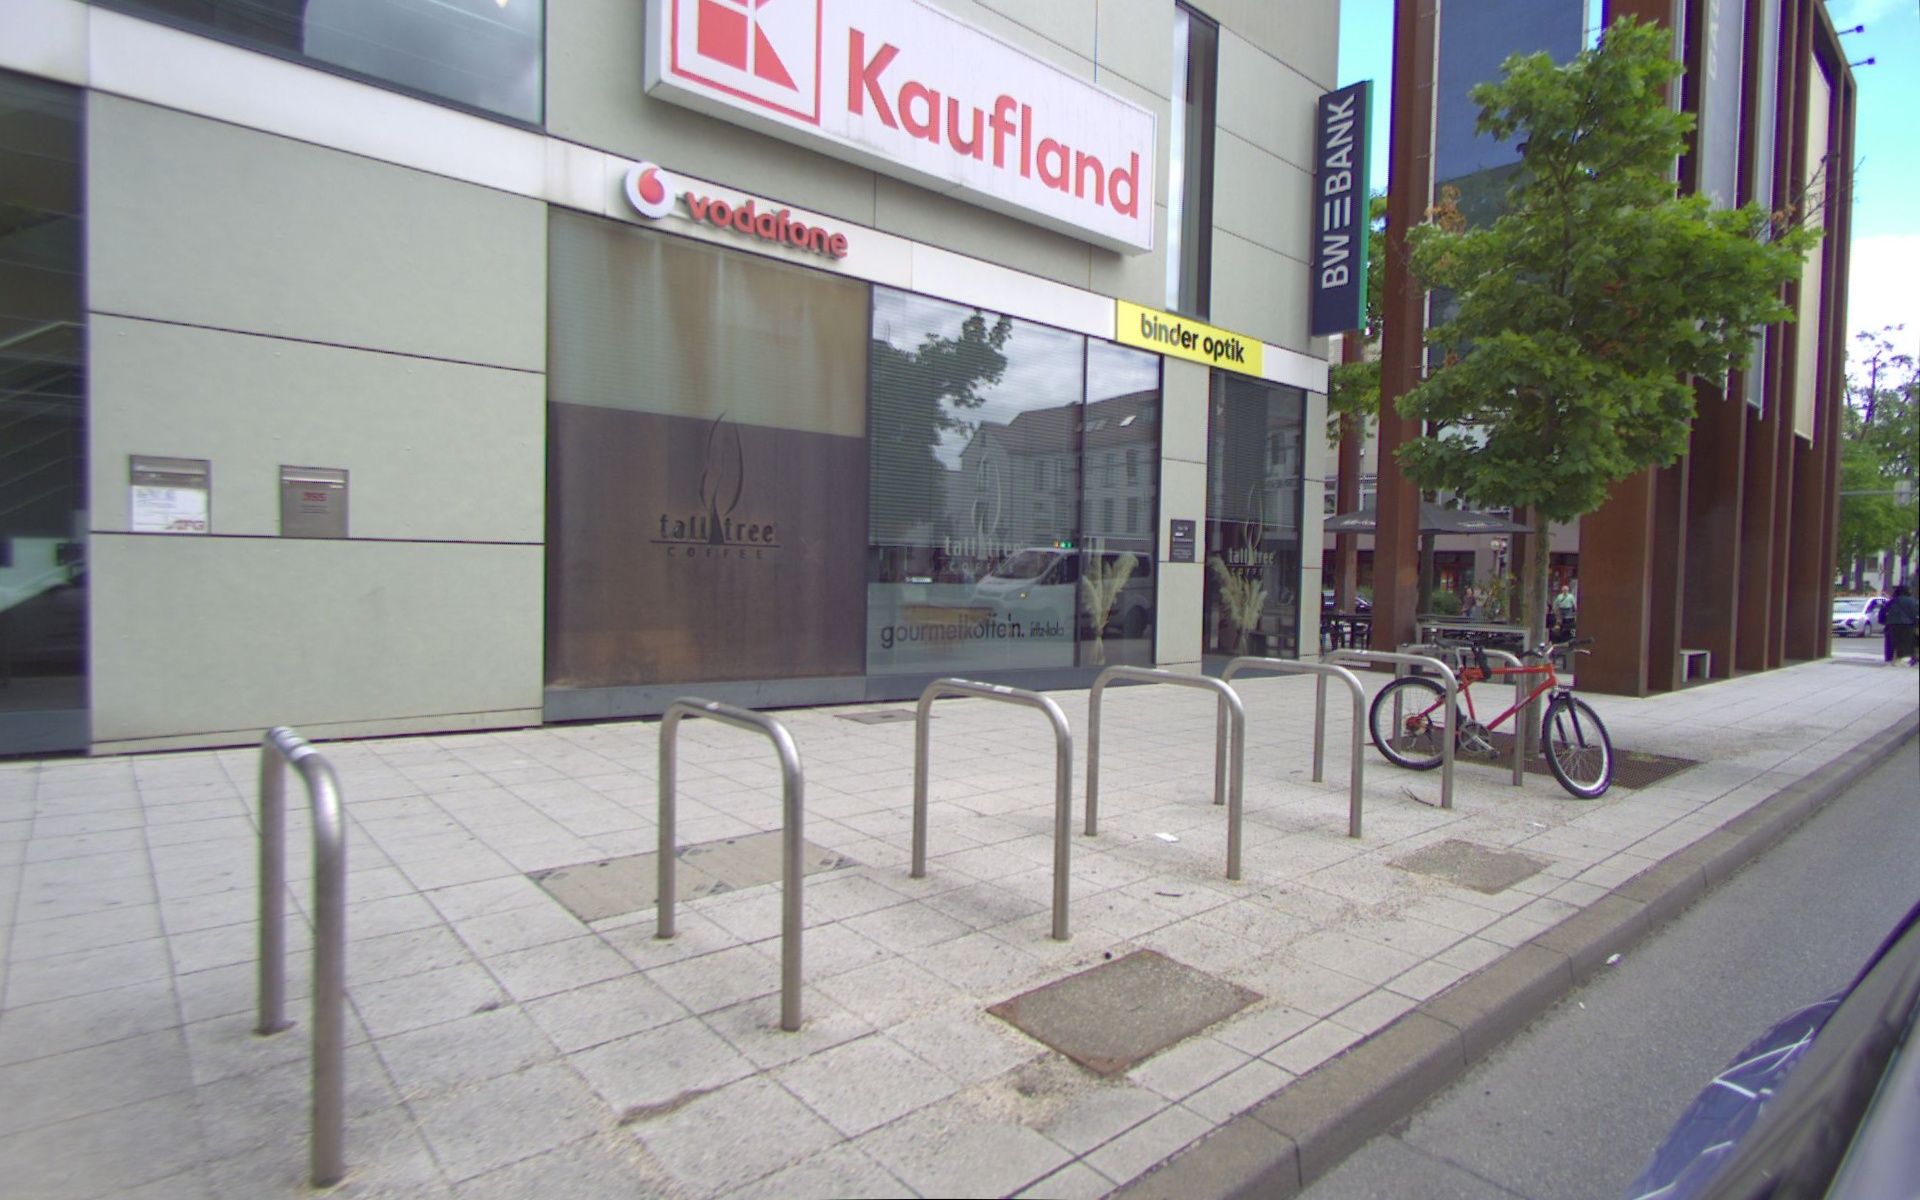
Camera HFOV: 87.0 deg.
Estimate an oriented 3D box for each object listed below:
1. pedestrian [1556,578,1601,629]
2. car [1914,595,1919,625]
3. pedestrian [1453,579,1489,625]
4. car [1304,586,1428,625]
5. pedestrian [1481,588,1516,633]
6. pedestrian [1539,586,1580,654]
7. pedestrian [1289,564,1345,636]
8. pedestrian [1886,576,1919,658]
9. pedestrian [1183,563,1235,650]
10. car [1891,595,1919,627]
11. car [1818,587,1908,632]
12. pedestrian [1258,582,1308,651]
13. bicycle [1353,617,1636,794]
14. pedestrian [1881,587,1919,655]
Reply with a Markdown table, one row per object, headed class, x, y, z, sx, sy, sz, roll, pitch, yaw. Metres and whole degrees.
| class | x | y | z | sx | sy | sz | roll | pitch | yaw |
| --- | --- | --- | --- | --- | --- | --- | --- | --- | --- |
| pedestrian | 21.580 | 0.105 | 35.328 | 1.091 | 1.736 | 1.057 | 0 | 2 | -42 |
| car | 50.988 | 0.515 | 52.574 | 3.933 | 1.549 | 1.799 | 0 | 0 | -43 |
| pedestrian | 18.517 | 0.056 | 36.668 | 1.040 | 1.604 | 0.831 | 0 | 1 | -42 |
| car | 15.754 | 0.165 | 39.411 | 1.770 | 1.422 | 4.177 | 0 | 1 | -43 |
| pedestrian | 19.154 | 0.361 | 35.998 | 0.953 | 1.578 | 0.831 | 0 | 1 | -42 |
| pedestrian | 11.143 | 0.364 | 18.821 | 0.595 | 1.235 | 0.449 | 0 | 1 | -37 |
| pedestrian | 8.767 | -0.023 | 24.852 | 1.102 | 1.702 | 0.879 | 0 | 2 | -44 |
| pedestrian | 19.700 | 0.342 | 20.690 | 0.666 | 1.667 | 0.874 | 1 | 1 | -7 |
| pedestrian | 4.396 | 0.103 | 17.862 | 0.596 | 1.487 | 0.647 | 0 | 2 | -40 |
| car | 45.703 | 0.511 | 48.219 | 3.579 | 1.467 | 1.629 | 0 | 0 | -41 |
| car | 36.695 | 0.344 | 41.099 | 4.297 | 1.722 | 1.745 | 0 | 0 | -34 |
| pedestrian | 5.852 | 0.293 | 18.340 | 0.782 | 1.223 | 0.516 | 1 | 1 | -43 |
| bicycle | 3.670 | 0.661 | 7.050 | 0.738 | 1.004 | 1.565 | 0 | 2 | -37 |
| pedestrian | 20.402 | 0.435 | 21.887 | 0.572 | 1.438 | 0.603 | 0 | 1 | -39 |
